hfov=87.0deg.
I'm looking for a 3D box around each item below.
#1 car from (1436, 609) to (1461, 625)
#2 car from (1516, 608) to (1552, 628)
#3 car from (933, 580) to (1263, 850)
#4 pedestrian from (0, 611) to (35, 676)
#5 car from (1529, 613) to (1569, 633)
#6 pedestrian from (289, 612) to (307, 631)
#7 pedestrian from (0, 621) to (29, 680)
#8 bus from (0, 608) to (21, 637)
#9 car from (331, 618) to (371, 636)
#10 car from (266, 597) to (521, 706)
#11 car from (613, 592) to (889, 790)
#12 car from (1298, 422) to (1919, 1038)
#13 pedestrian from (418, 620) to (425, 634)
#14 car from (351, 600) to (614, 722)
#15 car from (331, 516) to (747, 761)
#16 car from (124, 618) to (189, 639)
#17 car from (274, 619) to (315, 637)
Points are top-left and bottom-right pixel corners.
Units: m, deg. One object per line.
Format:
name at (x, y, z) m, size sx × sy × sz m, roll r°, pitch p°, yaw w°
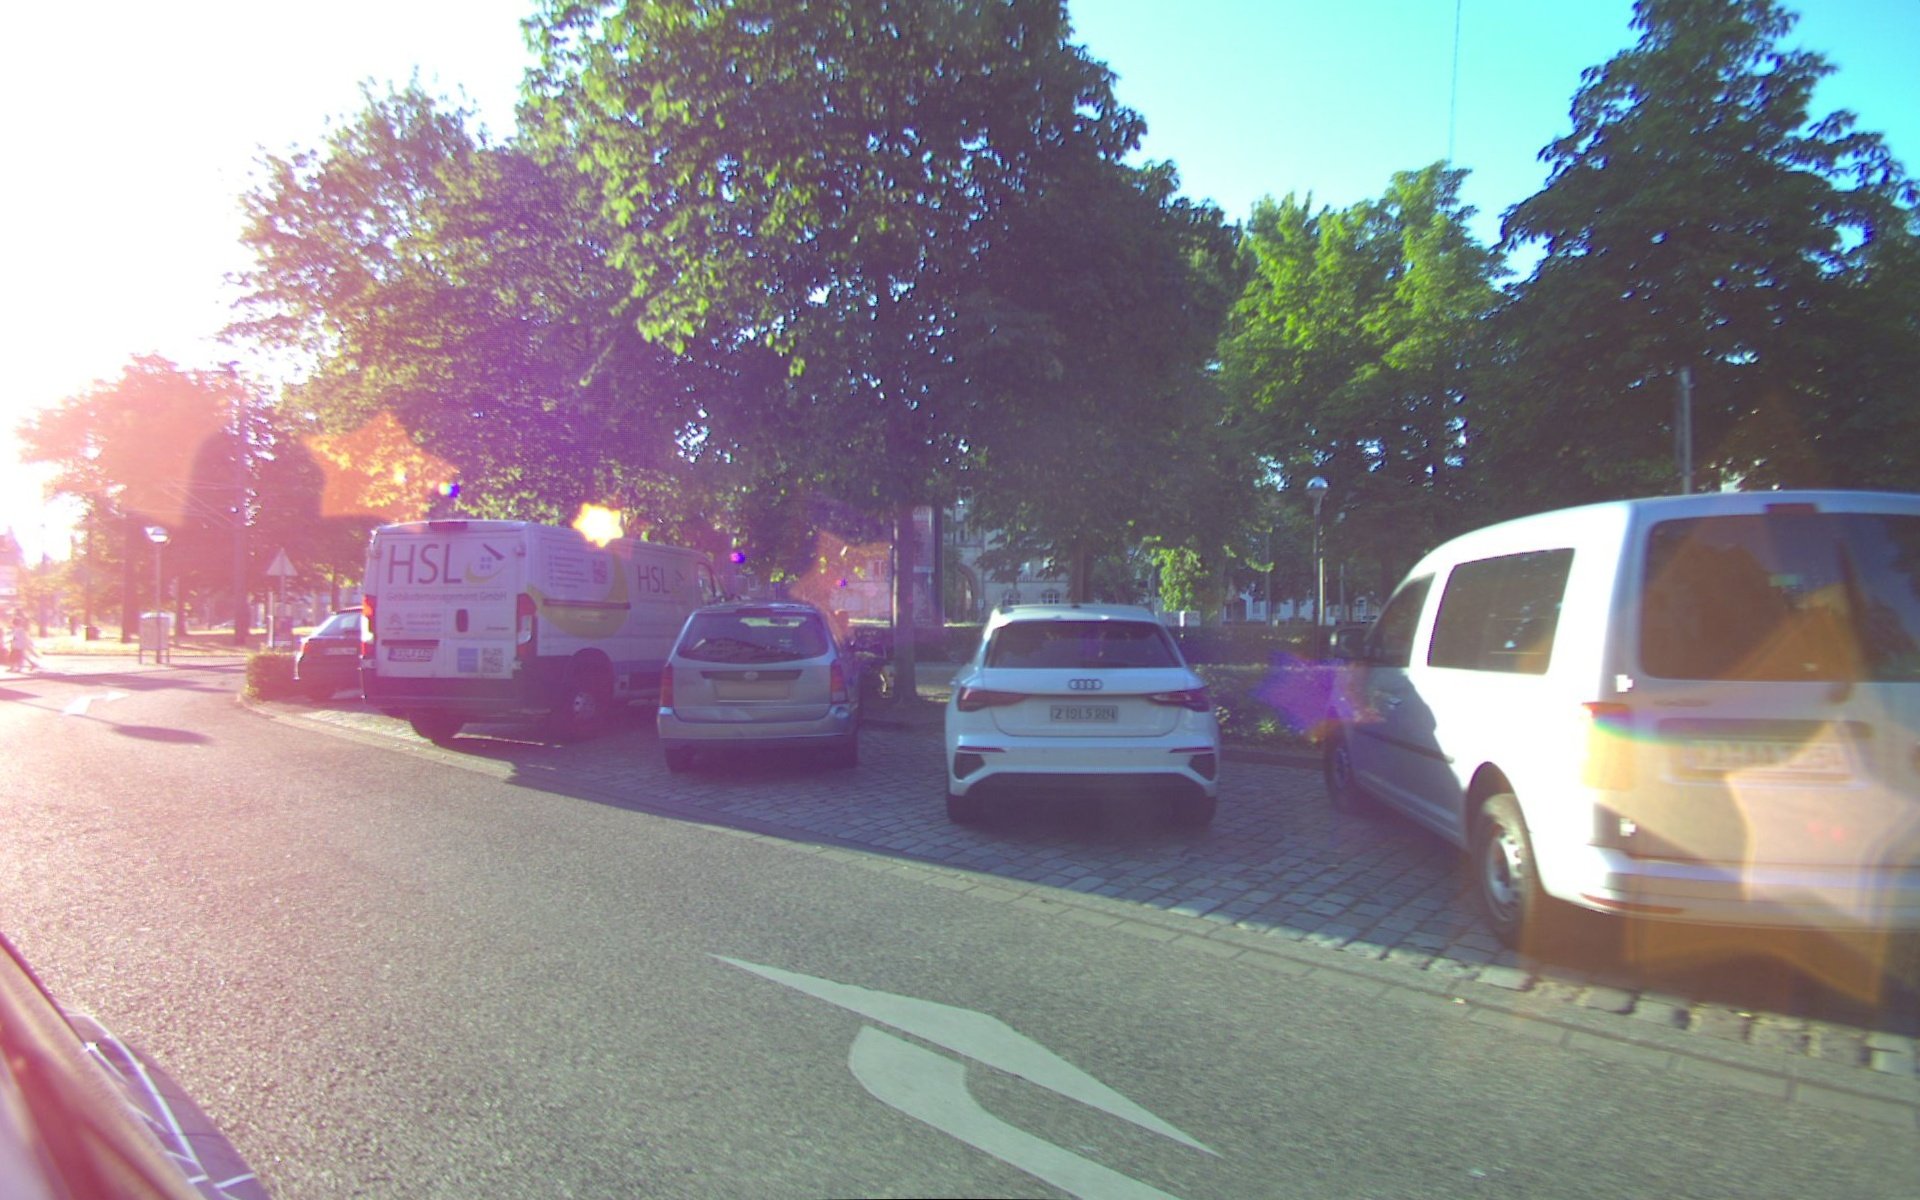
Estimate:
car at (56.888, 1.965, 117.939) m, size 1.983 × 1.696 × 3.977 m, roll -2°, pitch -1°, yaw 17°
car at (51.011, 1.626, 90.038) m, size 1.983 × 1.719 × 3.977 m, roll -1°, pitch -1°, yaw 18°
car at (0.878, 0.656, 7.713) m, size 1.826 × 1.503 × 3.996 m, roll -1°, pitch 0°, yaw 3°
pedestrian at (-23.389, 1.056, 24.981) m, size 0.683 × 1.571 × 0.701 m, roll -1°, pitch -1°, yaw -31°
car at (49.217, 1.884, 84.605) m, size 1.983 × 1.630 × 3.977 m, roll -1°, pitch -1°, yaw 18°
pedestrian at (-77.200, 2.506, 118.018) m, size 1.621 × 2.110 × 1.053 m, roll -2°, pitch -1°, yaw 20°
pedestrian at (-22.817, 1.207, 24.255) m, size 0.604 × 1.374 × 0.566 m, roll -1°, pitch -1°, yaw -30°
bus at (-118.136, 2.815, 120.122) m, size 13.598 × 3.388 × 3.739 m, roll -2°, pitch -1°, yaw 18°
car at (-71.794, 3.204, 119.294) m, size 3.870 × 2.029 × 1.848 m, roll -2°, pitch -1°, yaw 12°
car at (-9.201, 0.759, 16.837) m, size 1.781 × 1.594 × 3.876 m, roll -1°, pitch 0°, yaw 7°
car at (-1.749, 0.718, 9.789) m, size 1.856 × 1.479 × 4.000 m, roll -1°, pitch -1°, yaw 0°
car at (3.159, 0.410, 5.101) m, size 1.848 × 1.892 × 3.993 m, roll -1°, pitch -1°, yaw 6°
pedestrian at (-64.482, 3.237, 121.185) m, size 0.615 × 1.705 × 0.527 m, roll -2°, pitch -1°, yaw 25°
car at (-6.678, 0.782, 14.683) m, size 1.808 × 1.498 × 3.997 m, roll -1°, pitch -1°, yaw 2°
car at (-4.553, 0.368, 11.886) m, size 2.182 × 2.268 × 4.592 m, roll -1°, pitch 0°, yaw 15°
car at (-114.589, 4.043, 144.440) m, size 2.290 × 2.900 × 7.157 m, roll -2°, pitch -2°, yaw 19°
car at (-79.802, 3.381, 121.395) m, size 3.958 × 2.029 × 1.904 m, roll -2°, pitch -1°, yaw 12°
